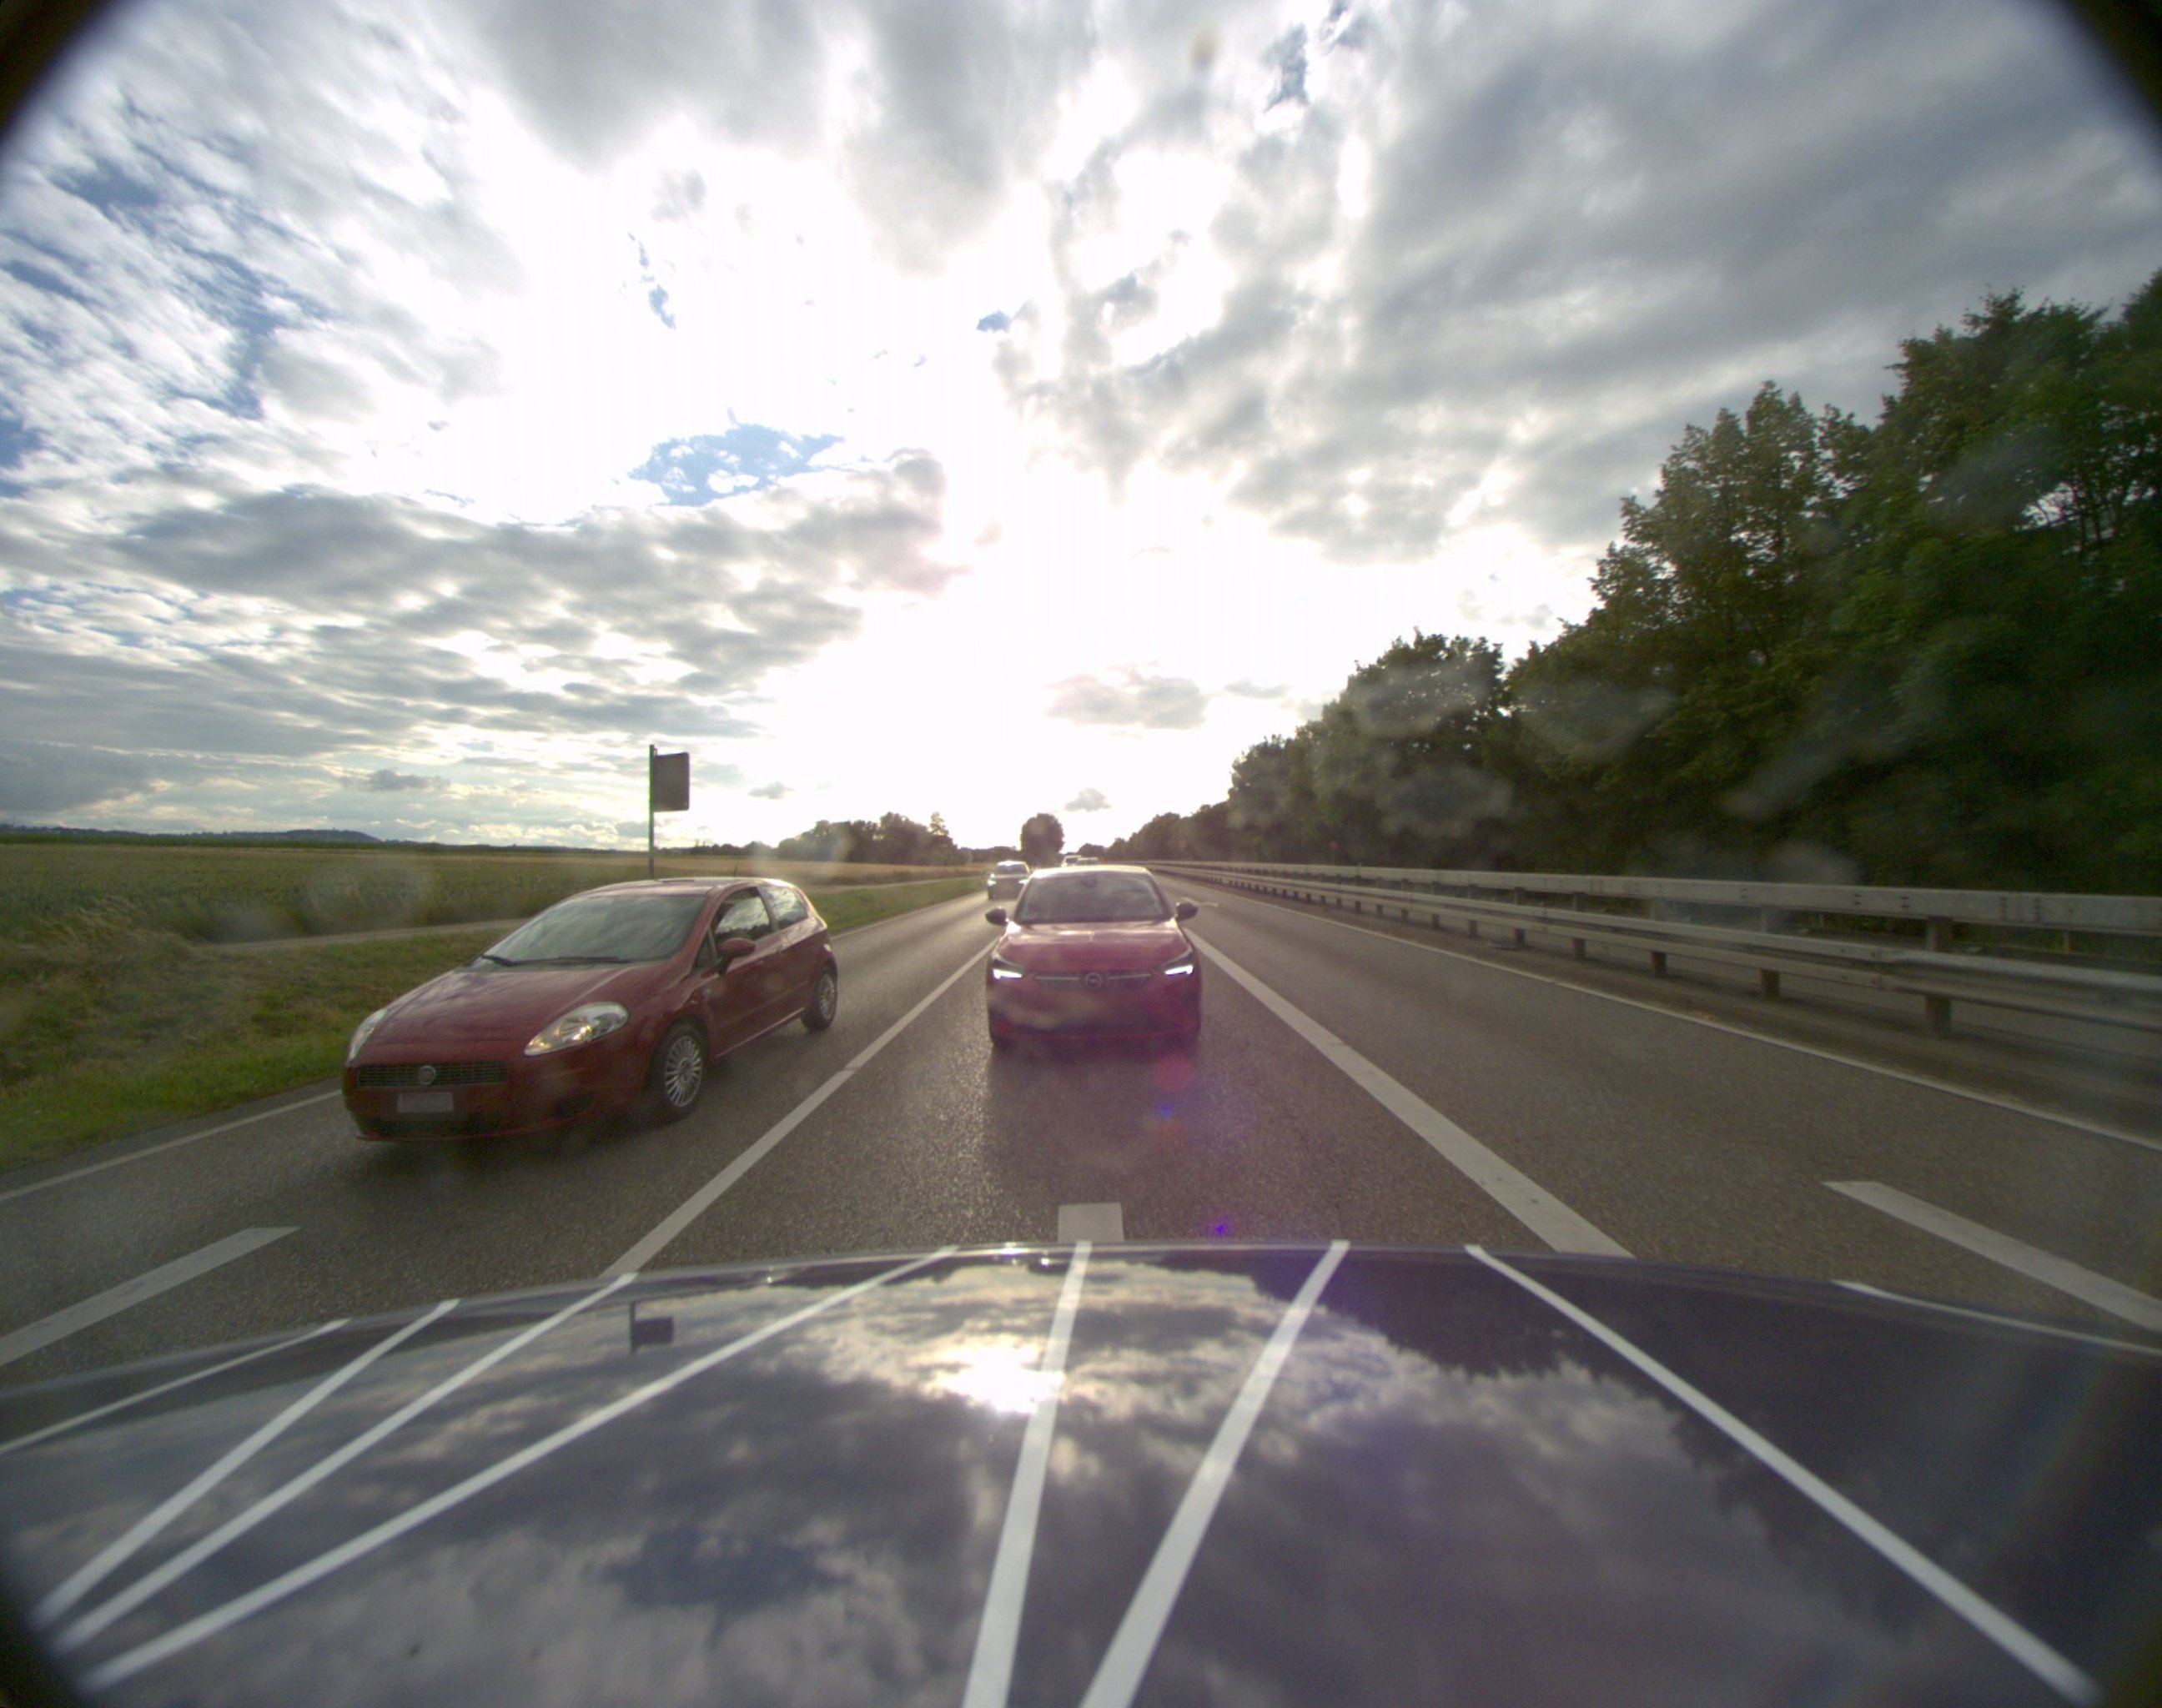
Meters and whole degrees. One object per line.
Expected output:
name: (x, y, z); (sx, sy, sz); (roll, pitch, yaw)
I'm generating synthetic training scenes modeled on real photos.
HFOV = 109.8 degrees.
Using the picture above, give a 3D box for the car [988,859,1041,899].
car: (-2.780, 1.017, 32.407); (1.799, 1.448, 4.032); (-2, 0, 1)

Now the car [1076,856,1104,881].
car: (0.589, 0.889, 49.201); (1.712, 1.448, 4.061); (-2, 1, 1)

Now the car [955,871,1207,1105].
car: (0.030, 0.992, 7.375); (1.712, 1.448, 4.061); (-2, 1, 1)

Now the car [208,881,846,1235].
car: (-3.246, 1.049, 5.581); (1.712, 1.448, 3.908); (-2, 1, 1)

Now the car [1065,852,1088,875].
car: (-0.325, 0.739, 61.067); (1.671, 1.730, 4.032); (-2, 1, 1)
